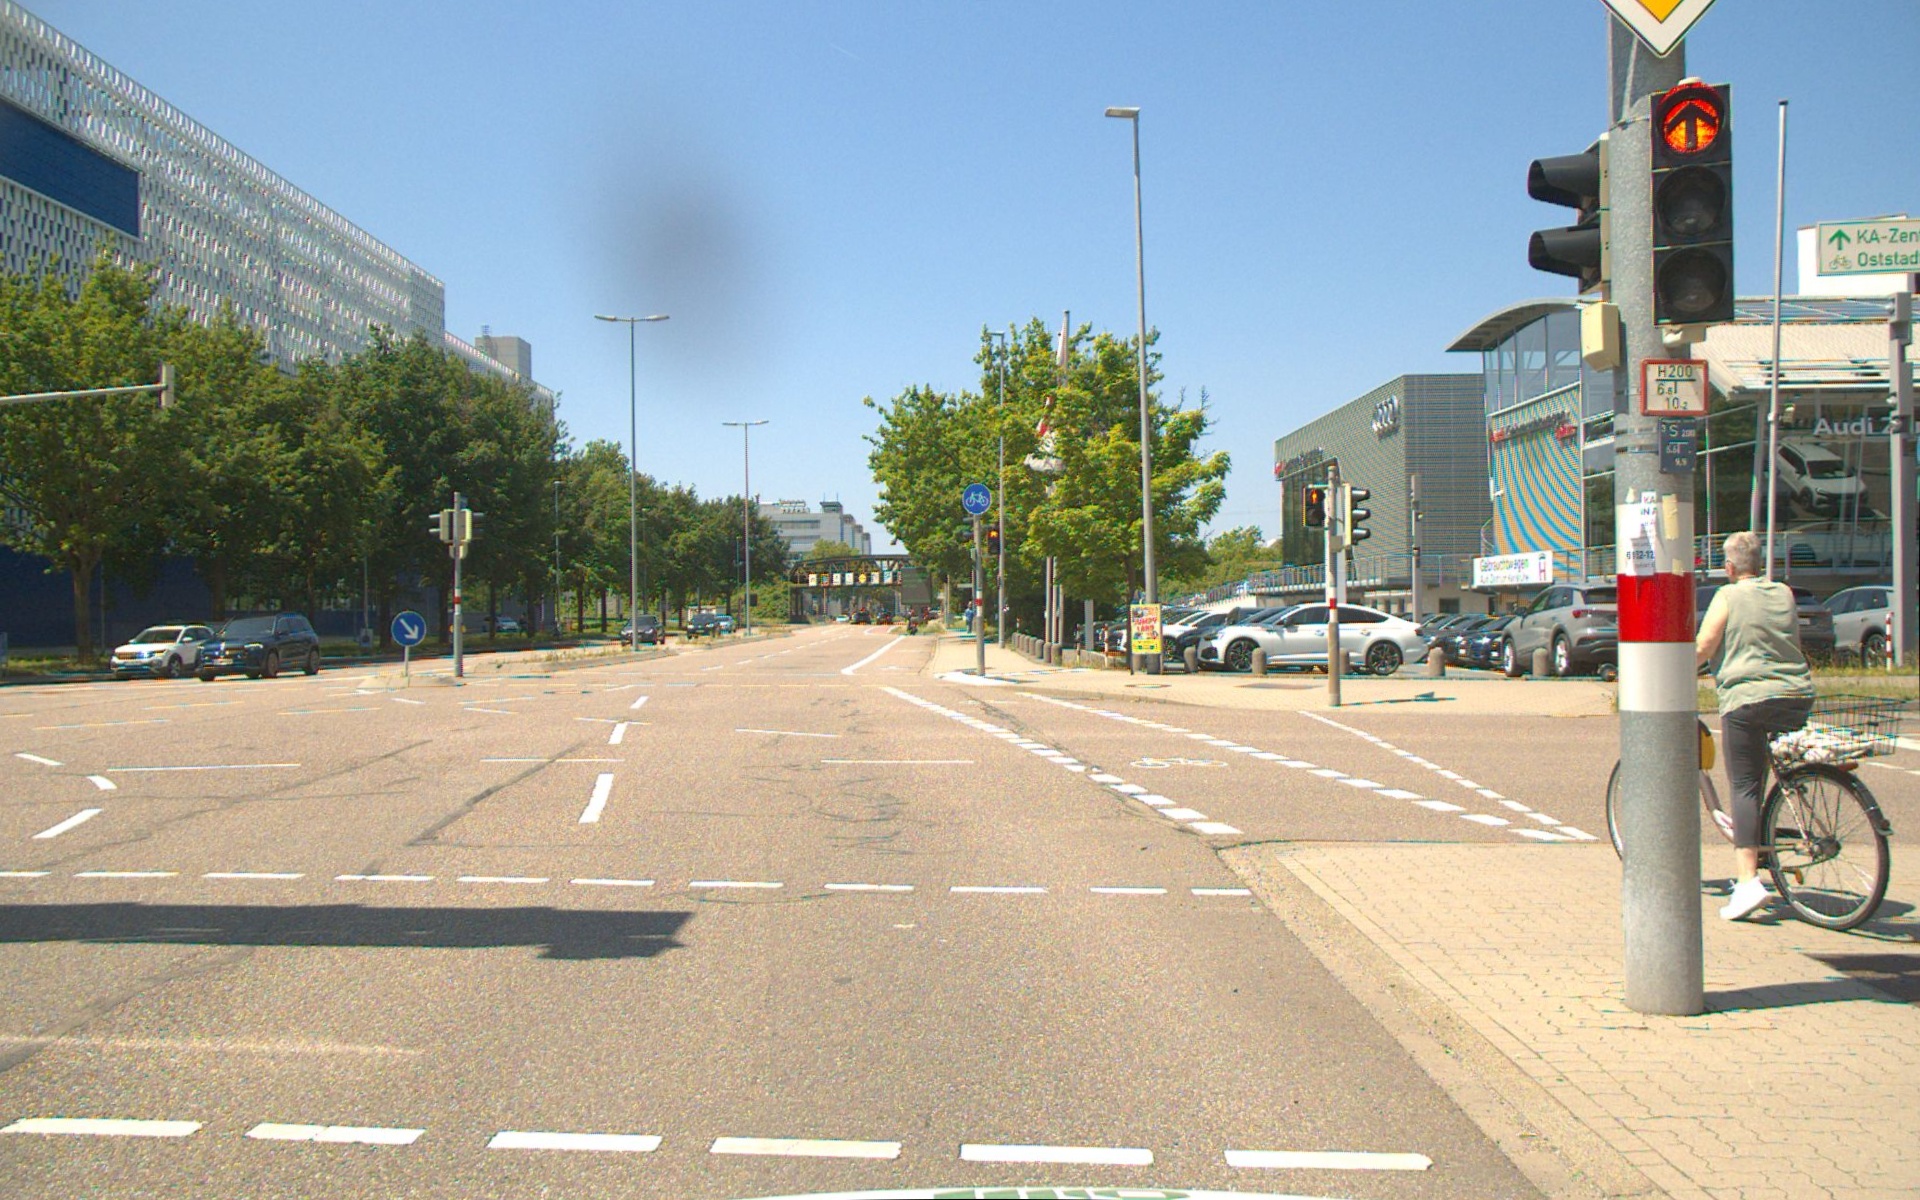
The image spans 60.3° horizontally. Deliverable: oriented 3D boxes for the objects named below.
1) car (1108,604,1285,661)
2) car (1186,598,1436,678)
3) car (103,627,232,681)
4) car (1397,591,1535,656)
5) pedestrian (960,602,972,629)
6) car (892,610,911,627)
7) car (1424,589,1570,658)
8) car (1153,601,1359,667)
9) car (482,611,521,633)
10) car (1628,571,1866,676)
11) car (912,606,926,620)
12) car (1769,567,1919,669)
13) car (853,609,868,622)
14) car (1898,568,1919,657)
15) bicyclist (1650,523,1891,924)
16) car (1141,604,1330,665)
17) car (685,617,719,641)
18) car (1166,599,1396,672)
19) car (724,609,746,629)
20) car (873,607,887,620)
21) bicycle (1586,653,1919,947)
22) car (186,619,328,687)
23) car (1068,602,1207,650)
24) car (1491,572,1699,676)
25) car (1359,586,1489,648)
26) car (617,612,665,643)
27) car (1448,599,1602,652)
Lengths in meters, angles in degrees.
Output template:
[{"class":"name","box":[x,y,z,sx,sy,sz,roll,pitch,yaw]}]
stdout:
[{"class":"car","box":[6.614,0.888,46.639,4.646,1.482,1.999,-1,0,-3]},{"class":"car","box":[6.996,0.750,33.342,4.643,1.482,2.000,-1,0,1]},{"class":"car","box":[-23.872,1.605,49.984,1.587,1.483,4.073,-1,-1,6]},{"class":"car","box":[16.662,0.764,54.614,3.905,2.049,2.000,-1,0,0]},{"class":"pedestrian","box":[0.352,0.898,97.212,0.654,1.537,0.736,-1,0,-1]},{"class":"car","box":[-3.706,1.173,105.123,1.114,1.060,2.308,-1,0,-1]},{"class":"car","box":[16.771,0.721,51.800,3.905,2.049,2.000,-1,0,0]},{"class":"car","box":[7.073,0.802,39.870,4.643,1.482,2.000,-1,0,1]},{"class":"car","box":[-42.147,2.006,151.977,1.981,1.842,3.971,1,0,-40]},{"class":"car","box":[13.678,0.359,29.084,1.953,1.668,4.557,-1,0,-1]},{"class":"car","box":[-5.435,1.707,220.696,1.736,1.758,3.999,-1,-1,-1]},{"class":"car","box":[16.471,0.257,29.377,1.953,1.668,4.440,-1,0,-1]},{"class":"car","box":[-13.533,2.160,225.324,1.736,1.758,3.999,-1,-1,-1]},{"class":"car","box":[18.881,0.226,29.350,1.847,1.668,4.524,-1,0,-1]},{"class":"bicyclist","box":[3.771,0.548,7.747,0.719,1.779,0.753,0,0,-5]},{"class":"car","box":[7.257,0.888,43.903,4.646,1.482,1.999,-1,0,-3]},{"class":"car","box":[-16.438,1.829,105.495,1.650,1.436,3.664,-1,-1,-1]},{"class":"car","box":[6.932,0.769,36.113,4.643,1.482,2.000,-1,-1,1]},{"class":"car","box":[-19.488,1.647,143.282,1.617,1.682,4.159,-1,0,-5]},{"class":"car","box":[-10.626,1.821,219.982,1.736,1.758,3.999,-1,-1,-1]},{"class":"bicycle","box":[3.787,0.865,7.880,0.771,1.147,1.919,0,0,-4]},{"class":"car","box":[-18.313,1.339,43.338,1.837,1.626,4.495,-1,-1,-1]},{"class":"car","box":[6.288,0.908,58.900,4.646,1.482,1.999,-2,0,-3]},{"class":"car","box":[11.056,0.376,29.143,1.953,1.668,4.267,-1,0,-1]},{"class":"car","box":[15.967,0.584,57.102,3.905,2.049,2.000,-1,0,0]},{"class":"car","box":[-15.795,1.362,82.059,1.697,1.452,3.705,-2,-1,-1]},{"class":"car","box":[16.855,0.743,49.459,4.008,1.486,1.719,-1,0,0]}]
